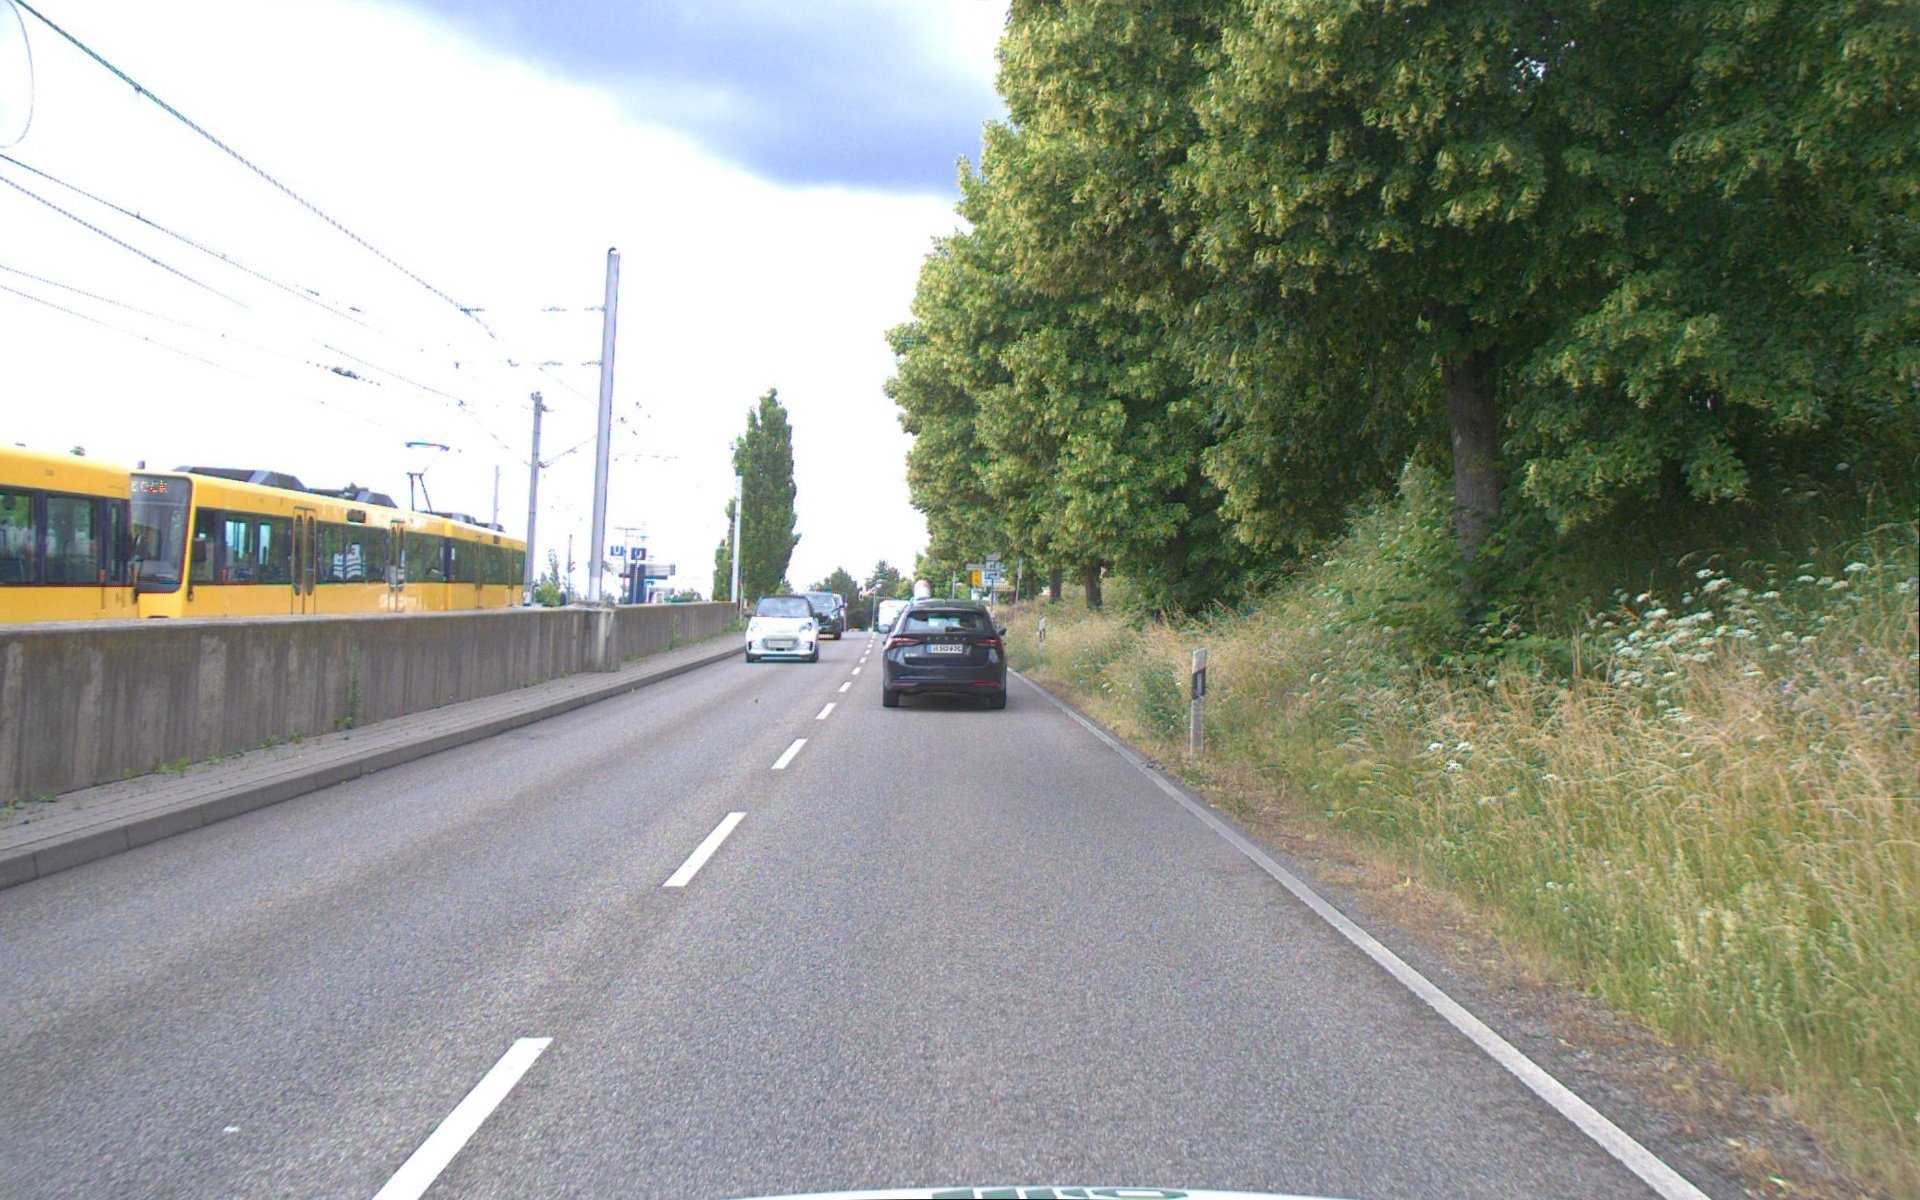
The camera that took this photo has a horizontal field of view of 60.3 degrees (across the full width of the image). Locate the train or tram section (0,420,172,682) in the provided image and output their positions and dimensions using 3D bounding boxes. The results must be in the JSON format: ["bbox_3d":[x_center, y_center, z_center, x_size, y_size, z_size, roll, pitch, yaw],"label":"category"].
[{"bbox_3d":[-12.588,-0.656,14.970,2.748,3.130,19.088,1,-1,-3],"label":"train or tram section"}]

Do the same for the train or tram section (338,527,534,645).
[{"bbox_3d":[-16.144,-0.256,52.730,2.744,3.075,18.845,1,-1,-8],"label":"train or tram section"}]

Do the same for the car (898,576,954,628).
[{"bbox_3d":[-1.222,0.091,59.679,1.953,1.771,3.999,1,-1,-1],"label":"car"}]

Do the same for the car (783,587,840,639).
[{"bbox_3d":[-5.376,0.467,60.322,1.872,1.799,4.304,0,0,-3],"label":"car"}]

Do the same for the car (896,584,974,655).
[{"bbox_3d":[-0.672,0.493,44.065,1.953,1.783,3.999,1,0,-1],"label":"car"}]

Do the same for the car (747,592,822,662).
[{"bbox_3d":[-4.185,0.620,39.848,1.697,1.599,3.996,0,0,-5],"label":"car"}]

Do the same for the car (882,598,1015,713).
[{"bbox_3d":[-0.191,0.731,23.938,1.745,1.493,3.999,1,0,-1],"label":"car"}]

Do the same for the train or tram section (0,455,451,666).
[{"bbox_3d":[-13.959,-0.465,33.987,2.746,3.078,19.285,1,-1,-5],"label":"train or tram section"}]

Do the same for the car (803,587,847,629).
[{"bbox_3d":[-6.676,0.389,82.176,1.953,2.049,4.311,0,0,-2],"label":"car"}]
